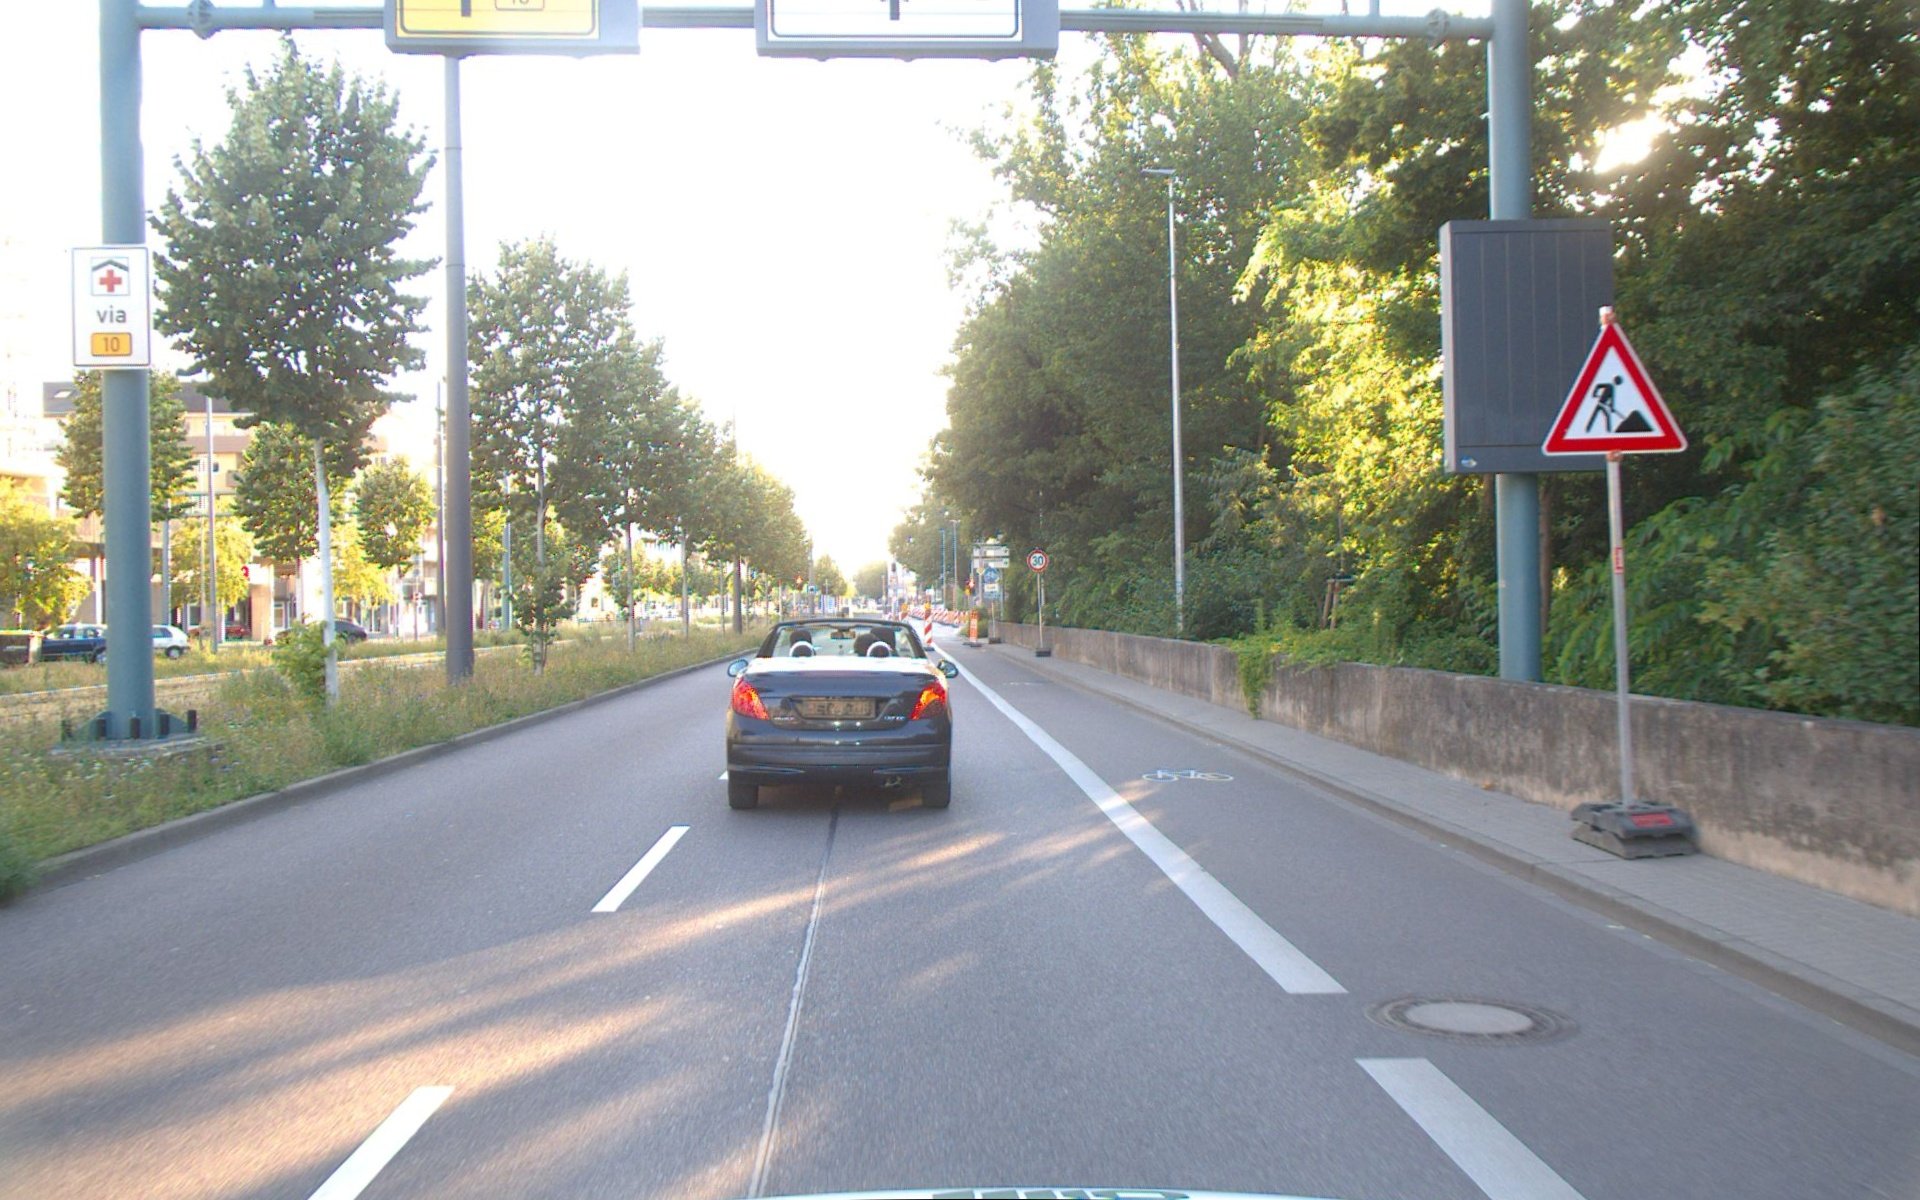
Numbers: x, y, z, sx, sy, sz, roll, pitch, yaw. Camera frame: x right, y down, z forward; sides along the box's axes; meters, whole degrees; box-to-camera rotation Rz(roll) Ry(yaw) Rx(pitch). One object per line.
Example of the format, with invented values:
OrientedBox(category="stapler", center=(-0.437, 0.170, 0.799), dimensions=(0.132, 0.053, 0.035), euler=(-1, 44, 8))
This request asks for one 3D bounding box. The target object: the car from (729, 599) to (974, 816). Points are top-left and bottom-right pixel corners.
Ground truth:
OrientedBox(category="car", center=(-0.970, 0.747, 13.361), dimensions=(1.686, 1.475, 3.895), euler=(0, 0, -7))

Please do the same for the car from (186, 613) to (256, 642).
OrientedBox(category="car", center=(-55.746, 2.072, 124.825), dimensions=(4.246, 1.800, 2.164), euler=(-4, 1, -6))

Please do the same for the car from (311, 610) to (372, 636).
OrientedBox(category="car", center=(-47.312, 1.752, 126.674), dimensions=(3.856, 1.878, 2.190), euler=(-1, 0, -4))

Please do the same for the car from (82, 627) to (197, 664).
OrientedBox(category="car", center=(-34.220, 1.890, 69.022), dimensions=(4.082, 1.461, 1.803), euler=(1, 0, -35))

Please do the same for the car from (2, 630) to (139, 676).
OrientedBox(category="car", center=(-33.770, 1.982, 62.855), dimensions=(4.251, 1.618, 1.978), euler=(-1, -1, -43))
